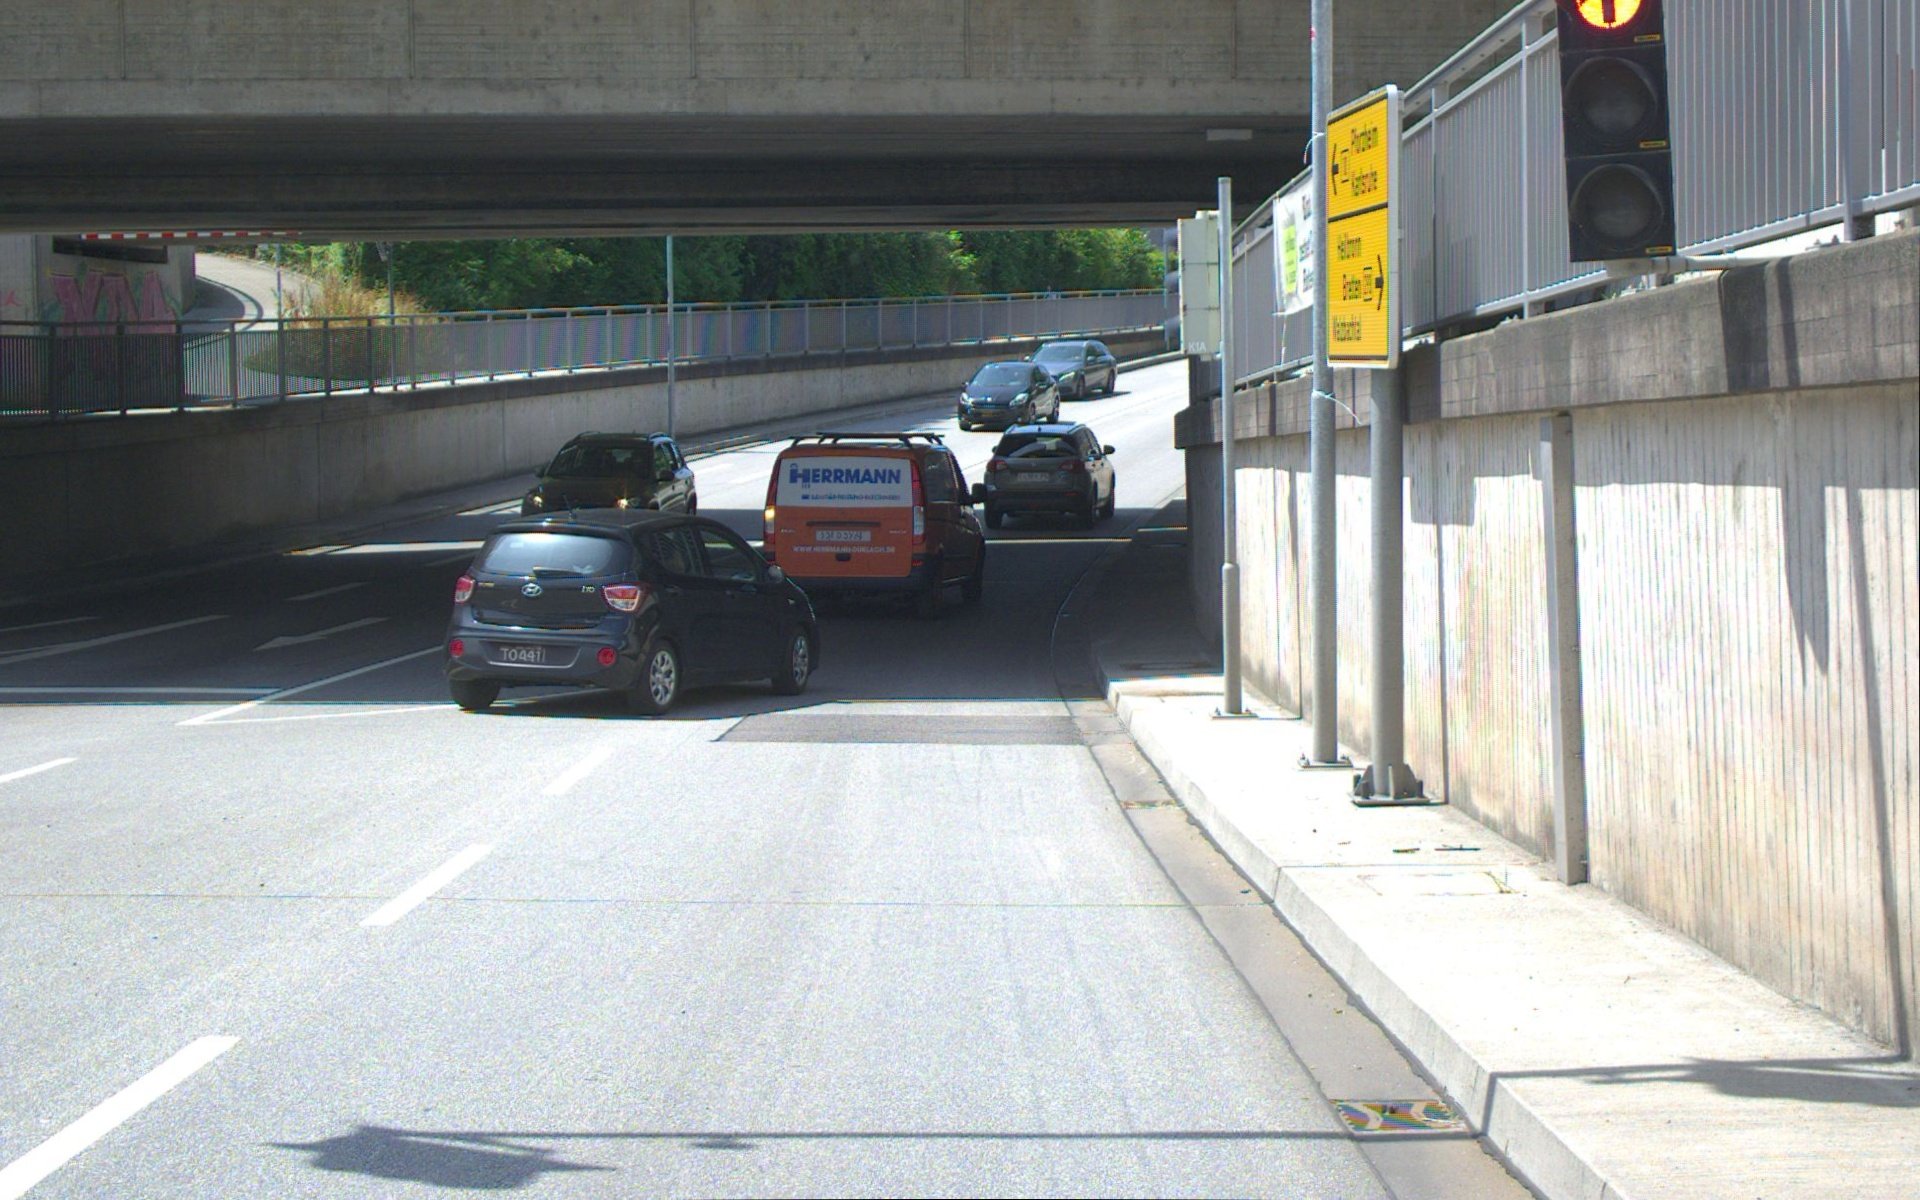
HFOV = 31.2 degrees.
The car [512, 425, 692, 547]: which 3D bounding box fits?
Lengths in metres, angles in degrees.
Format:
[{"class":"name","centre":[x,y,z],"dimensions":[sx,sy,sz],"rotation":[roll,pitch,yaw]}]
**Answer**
[{"class":"car","centre":[-5.017,-1.653,48.631],"dimensions":[1.993,1.621,4.001],"rotation":[0,3,2]}]

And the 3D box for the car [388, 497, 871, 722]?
[{"class":"car","centre":[-2.442,-0.001,26.483],"dimensions":[1.996,1.502,3.995],"rotation":[1,3,24]}]

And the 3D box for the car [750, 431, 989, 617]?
[{"class":"car","centre":[-0.944,-0.923,38.807],"dimensions":[1.873,1.925,4.718],"rotation":[0,3,9]}]

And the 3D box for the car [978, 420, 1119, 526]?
[{"class":"car","centre":[1.460,-2.068,55.266],"dimensions":[1.805,1.612,3.999],"rotation":[1,3,8]}]

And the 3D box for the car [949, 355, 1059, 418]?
[{"class":"car","centre":[1.052,-4.936,79.593],"dimensions":[1.783,1.431,3.999],"rotation":[1,3,12]}]

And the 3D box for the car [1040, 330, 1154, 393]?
[{"class":"car","centre":[3.614,-6.232,90.132],"dimensions":[1.995,1.583,3.997],"rotation":[1,4,18]}]
